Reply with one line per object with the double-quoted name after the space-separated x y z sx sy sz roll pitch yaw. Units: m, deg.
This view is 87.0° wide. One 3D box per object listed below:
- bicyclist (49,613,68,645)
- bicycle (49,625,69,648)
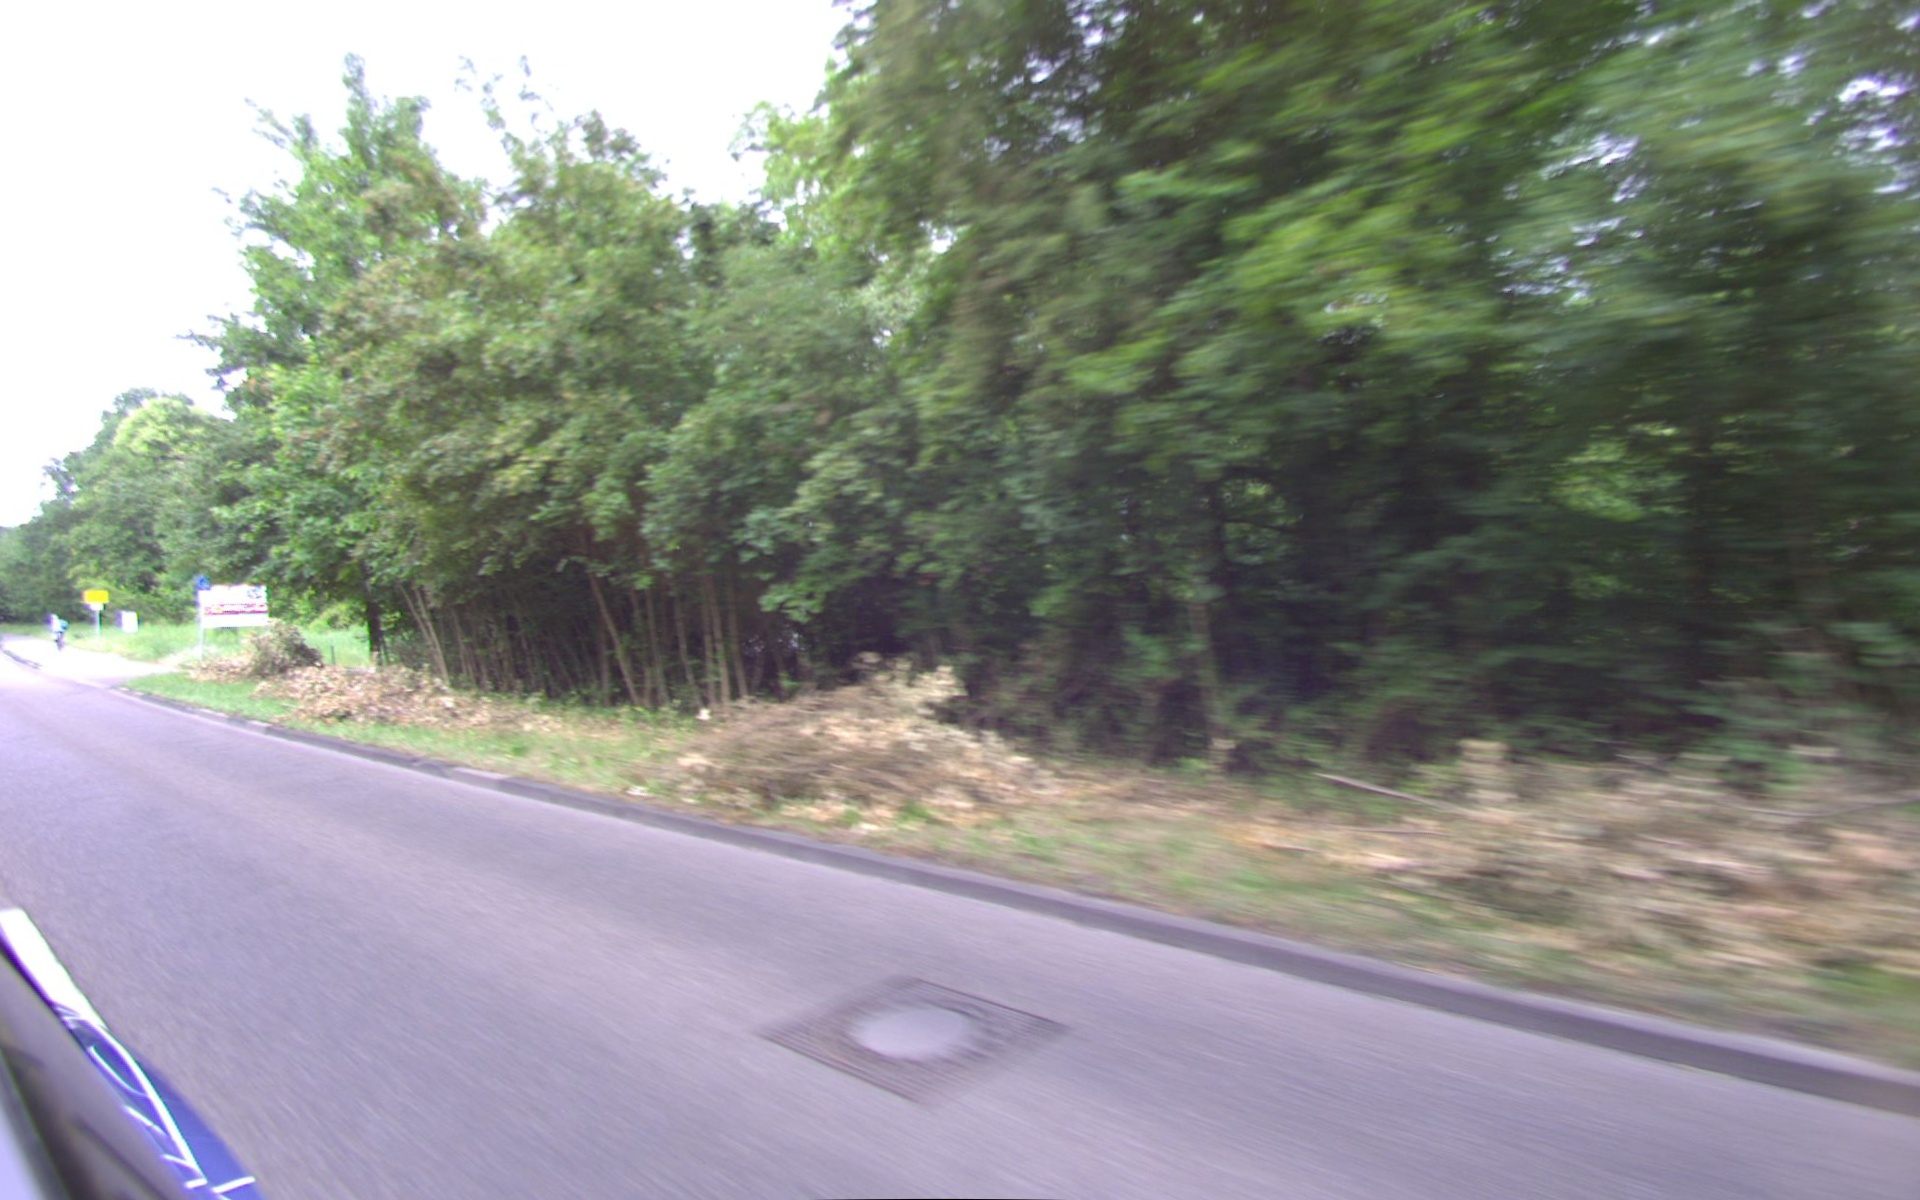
-44.120 1.404 49.547 0.657 1.531 1.272 -2 0 -42 "bicyclist"
-44.115 1.787 49.541 0.657 1.082 2.148 -2 0 -42 "bicycle"
